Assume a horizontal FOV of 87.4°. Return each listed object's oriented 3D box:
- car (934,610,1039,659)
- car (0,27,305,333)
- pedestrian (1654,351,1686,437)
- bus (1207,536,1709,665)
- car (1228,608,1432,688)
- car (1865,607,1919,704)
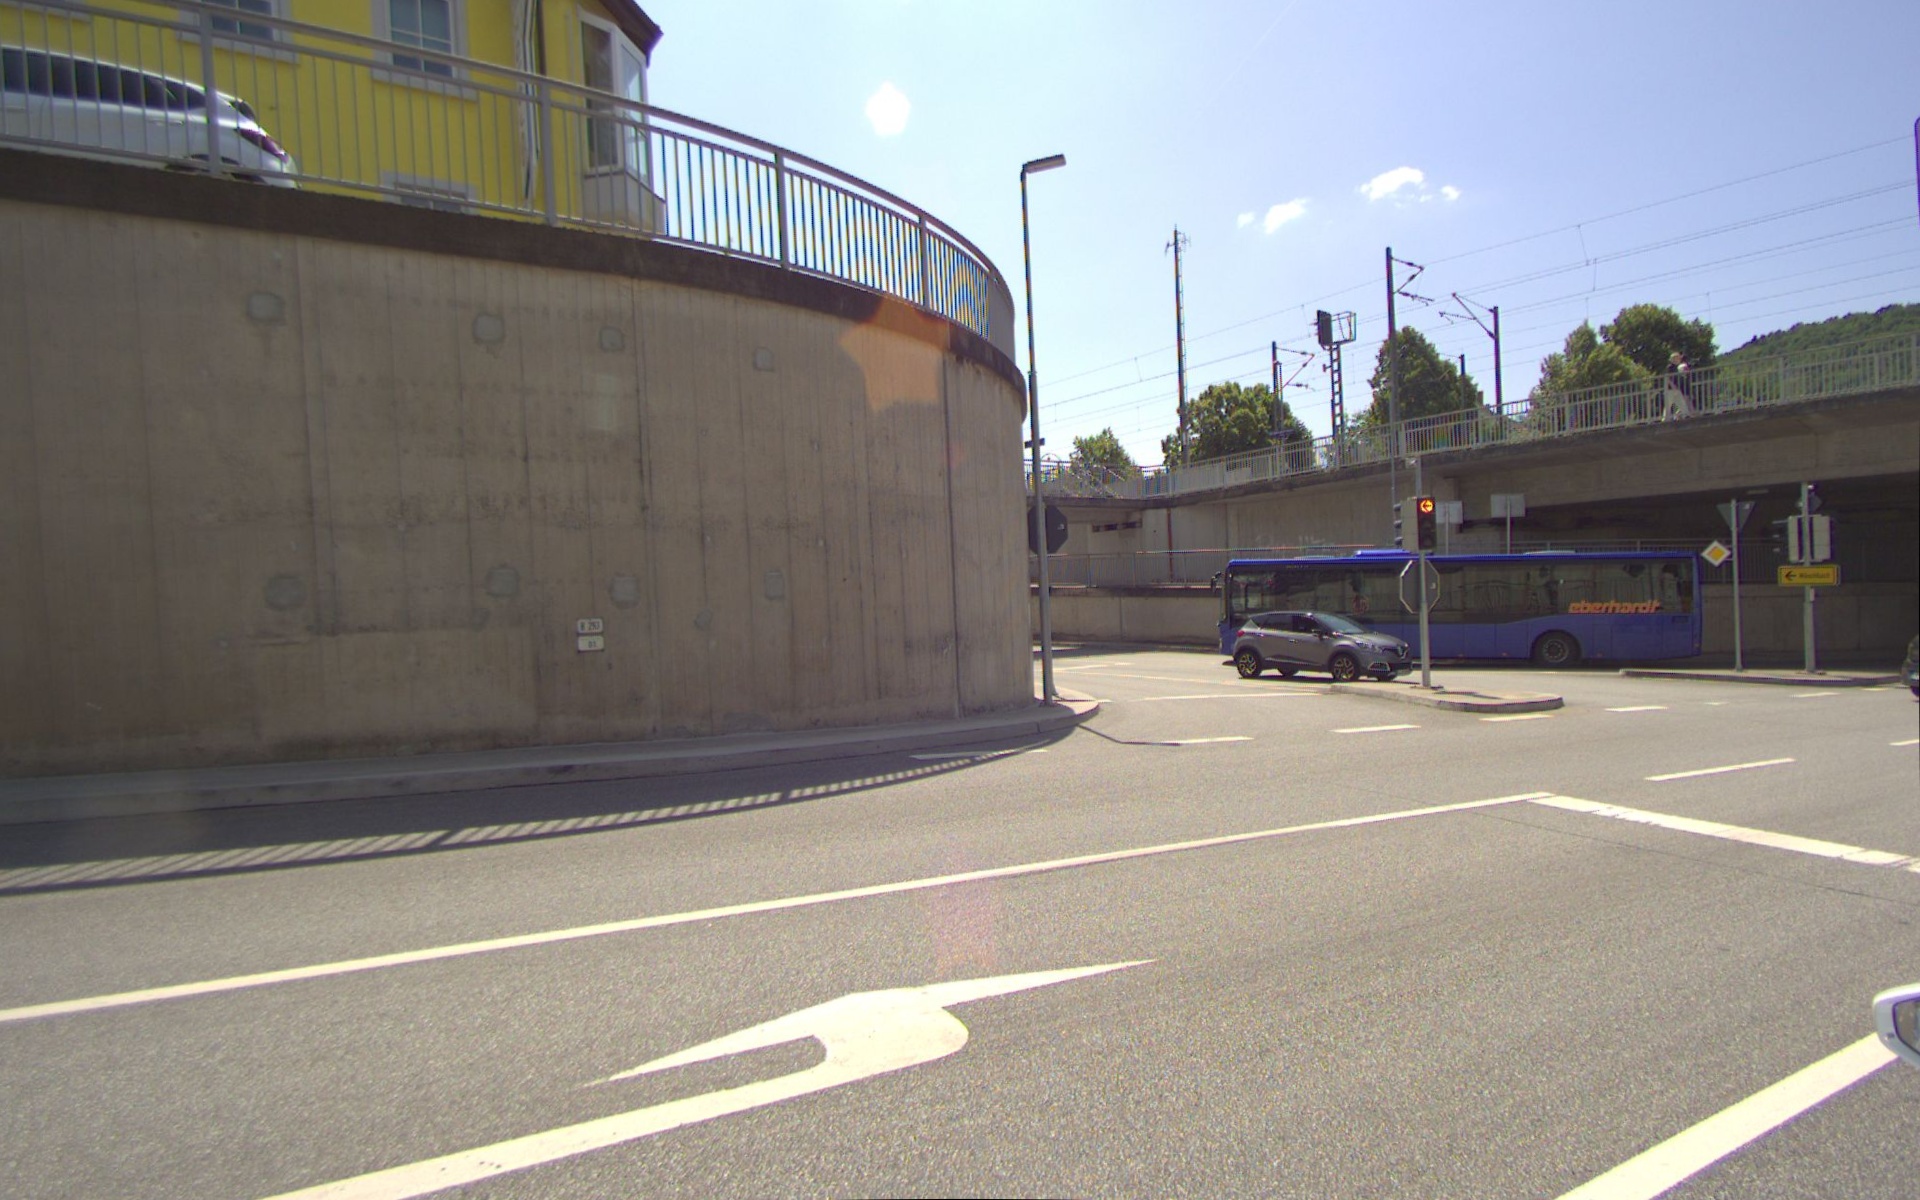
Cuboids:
[{"bbox_3d":[0.800,1.081,33.104,1.709,1.439,3.969,-2,1,-29],"label":"car"},{"bbox_3d":[-7.952,-3.559,8.483,3.955,1.690,1.892,-2,1,-32],"label":"car"},{"bbox_3d":[18.771,-5.437,26.548,0.531,2.109,0.571,1,-1,-40],"label":"pedestrian"},{"bbox_3d":[13.257,0.087,28.097,12.130,3.215,2.589,-1,1,18],"label":"bus"},{"bbox_3d":[8.369,1.012,23.003,1.981,1.610,3.959,-2,1,-36],"label":"car"},{"bbox_3d":[17.628,0.887,16.279,3.922,1.528,1.999,-1,0,22],"label":"car"}]
